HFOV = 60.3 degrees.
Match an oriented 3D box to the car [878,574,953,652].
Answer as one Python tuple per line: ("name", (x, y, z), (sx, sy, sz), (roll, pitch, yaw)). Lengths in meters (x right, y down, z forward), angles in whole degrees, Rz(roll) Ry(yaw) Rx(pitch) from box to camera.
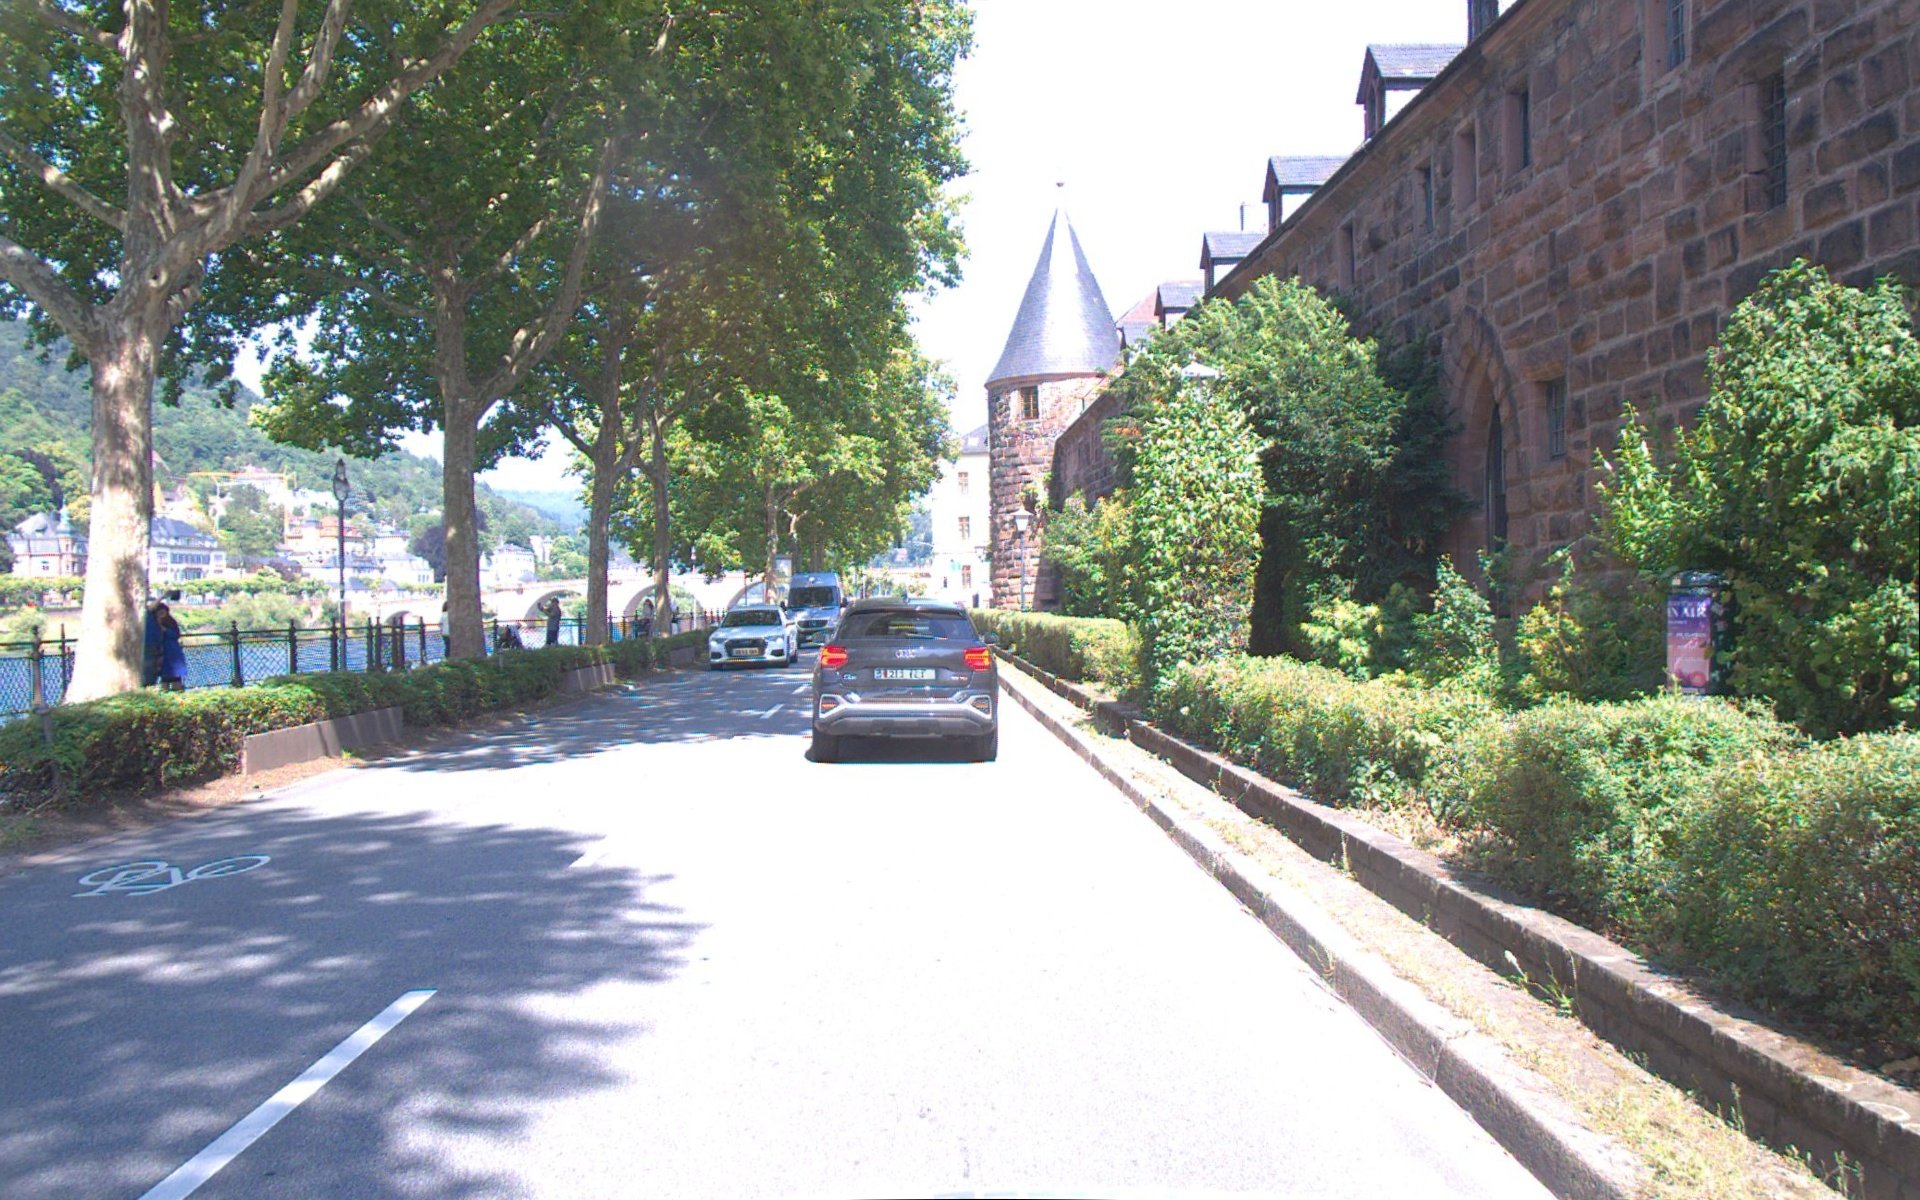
("car", (-1.280, 0.359, 47.168), (1.953, 2.049, 3.998), (-2, 0, -2))

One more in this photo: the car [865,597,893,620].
("car", (-6.280, 0.615, 128.114), (1.727, 1.676, 4.091), (-2, 0, 2))

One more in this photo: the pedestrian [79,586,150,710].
("pedestrian", (-12.733, 0.711, 24.934), (0.689, 1.828, 0.705), (-1, -1, 0))

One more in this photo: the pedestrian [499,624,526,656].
("pedestrian", (-12.997, 1.157, 48.010), (0.595, 0.899, 0.705), (-1, 0, -2))

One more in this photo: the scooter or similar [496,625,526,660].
("scooter or similar", (-12.986, 1.214, 47.867), (0.618, 0.985, 1.012), (0, -1, -2))

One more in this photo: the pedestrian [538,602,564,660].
("pedestrian", (-11.720, 0.893, 47.386), (0.631, 1.647, 0.458), (1, -1, -4))

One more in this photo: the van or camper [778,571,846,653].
("van or camper", (-5.170, 0.421, 58.385), (1.921, 2.612, 5.838), (-3, 0, -2))

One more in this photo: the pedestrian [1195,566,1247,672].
("pedestrian", (4.268, 0.304, 27.060), (0.684, 1.681, 0.705), (-2, 0, 0))

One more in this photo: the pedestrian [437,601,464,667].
("pedestrian", (-13.593, 0.904, 44.141), (0.573, 1.740, 0.403), (1, -1, -4))

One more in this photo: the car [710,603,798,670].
("car", (-4.968, 0.849, 40.339), (1.734, 1.482, 4.531), (-2, 0, -3))

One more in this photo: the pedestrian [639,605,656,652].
("pedestrian", (-10.823, 0.977, 57.287), (0.448, 1.581, 0.585), (-2, 0, -2))

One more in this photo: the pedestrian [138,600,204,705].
("pedestrian", (-12.581, 0.831, 26.386), (0.689, 1.631, 0.705), (-1, -1, 0))

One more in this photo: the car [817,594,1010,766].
("car", (-0.498, 0.715, 16.576), (1.713, 1.521, 3.627), (0, 0, -3))

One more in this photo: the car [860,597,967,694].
("car", (-0.813, 0.774, 30.216), (1.764, 1.590, 3.715), (-2, 0, -1))
